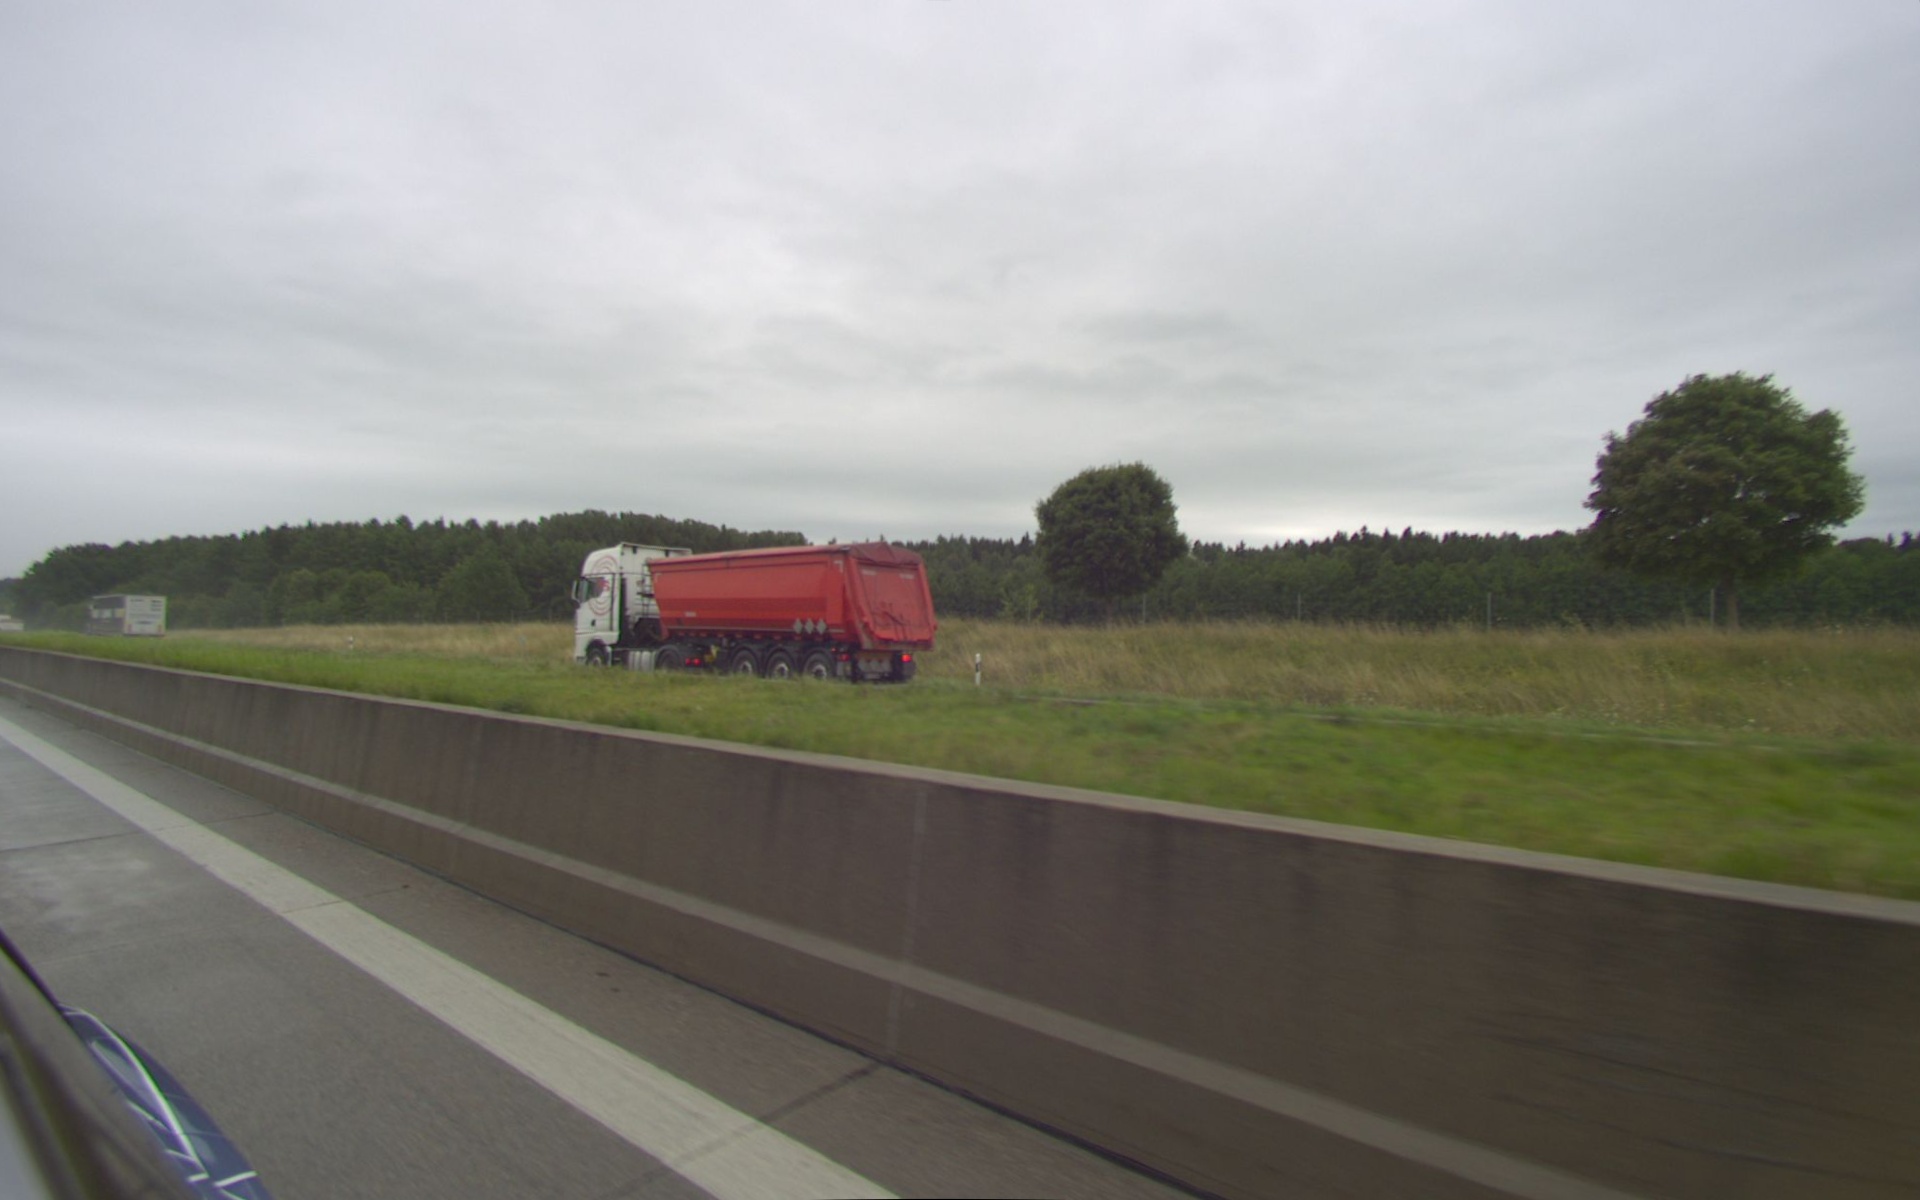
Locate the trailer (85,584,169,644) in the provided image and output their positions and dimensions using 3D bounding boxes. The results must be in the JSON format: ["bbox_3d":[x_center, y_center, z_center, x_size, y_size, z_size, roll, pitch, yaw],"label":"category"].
[{"bbox_3d":[-65.725,1.134,79.722,13.550,4.373,3.193,-1,-2,42],"label":"trailer"}]

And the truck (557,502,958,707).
[{"bbox_3d":[-5.909,0.086,26.249,13.098,4.238,2.725,1,-2,41],"label":"truck"}]

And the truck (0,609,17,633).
[{"bbox_3d":[-134.839,2.955,141.930,6.034,3.359,3.219,-1,-2,42],"label":"truck"}]

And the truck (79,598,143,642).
[{"bbox_3d":[-70.673,1.697,84.232,6.034,3.500,3.164,-1,-2,41],"label":"truck"}]

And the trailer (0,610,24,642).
[{"bbox_3d":[-130.181,3.477,137.621,12.618,4.182,3.193,-1,-2,42],"label":"trailer"}]
